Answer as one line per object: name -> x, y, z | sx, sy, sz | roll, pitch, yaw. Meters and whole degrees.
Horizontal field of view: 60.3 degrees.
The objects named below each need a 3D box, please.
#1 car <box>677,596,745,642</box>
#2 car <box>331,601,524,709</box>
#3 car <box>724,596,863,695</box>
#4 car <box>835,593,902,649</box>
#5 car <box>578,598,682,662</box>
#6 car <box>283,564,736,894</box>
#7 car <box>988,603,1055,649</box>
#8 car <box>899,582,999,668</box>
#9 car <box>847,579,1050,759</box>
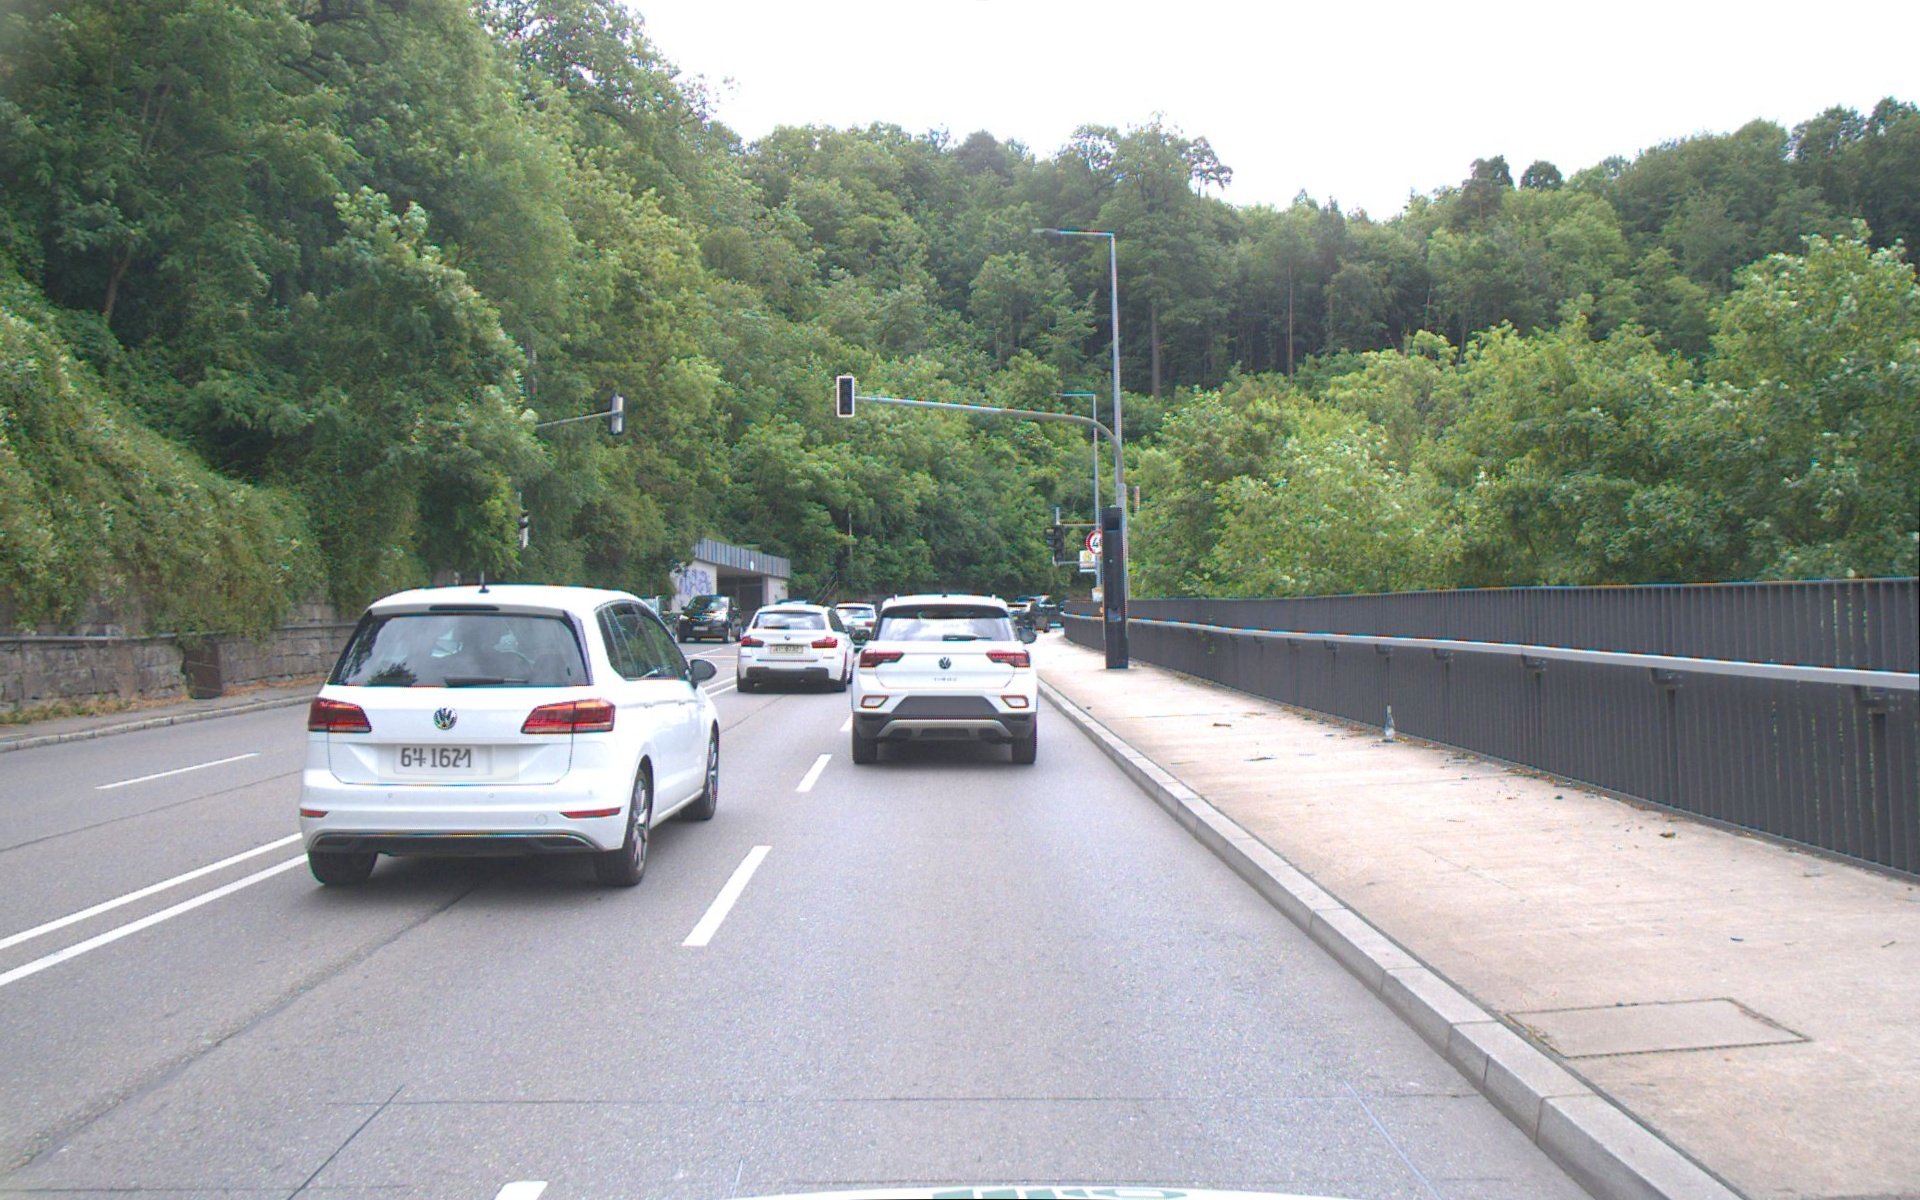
car -> -8.530, 0.622, 56.939 | 1.745, 1.508, 4.210 | 1, 0, -1
car -> -8.317, 0.802, 26.234 | 1.642, 1.467, 4.233 | 1, 1, 0
car -> -2.845, 0.742, 29.240 | 1.952, 1.585, 4.681 | 1, 0, 0
car -> -2.814, 0.655, 51.444 | 1.824, 1.623, 3.999 | 1, -1, 0
car -> -8.540, 0.768, 43.141 | 1.902, 1.576, 4.248 | -1, -1, -1
car -> -2.451, 0.628, 10.095 | 1.685, 1.581, 4.274 | 0, 0, -1
car -> 2.869, 1.192, 75.917 | 1.952, 2.049, 4.001 | 1, -1, 19
car -> -0.203, 0.588, 39.033 | 1.951, 1.875, 4.152 | 1, -1, 5
car -> -0.125, 0.655, 16.663 | 1.777, 1.566, 4.007 | -1, -1, -1
